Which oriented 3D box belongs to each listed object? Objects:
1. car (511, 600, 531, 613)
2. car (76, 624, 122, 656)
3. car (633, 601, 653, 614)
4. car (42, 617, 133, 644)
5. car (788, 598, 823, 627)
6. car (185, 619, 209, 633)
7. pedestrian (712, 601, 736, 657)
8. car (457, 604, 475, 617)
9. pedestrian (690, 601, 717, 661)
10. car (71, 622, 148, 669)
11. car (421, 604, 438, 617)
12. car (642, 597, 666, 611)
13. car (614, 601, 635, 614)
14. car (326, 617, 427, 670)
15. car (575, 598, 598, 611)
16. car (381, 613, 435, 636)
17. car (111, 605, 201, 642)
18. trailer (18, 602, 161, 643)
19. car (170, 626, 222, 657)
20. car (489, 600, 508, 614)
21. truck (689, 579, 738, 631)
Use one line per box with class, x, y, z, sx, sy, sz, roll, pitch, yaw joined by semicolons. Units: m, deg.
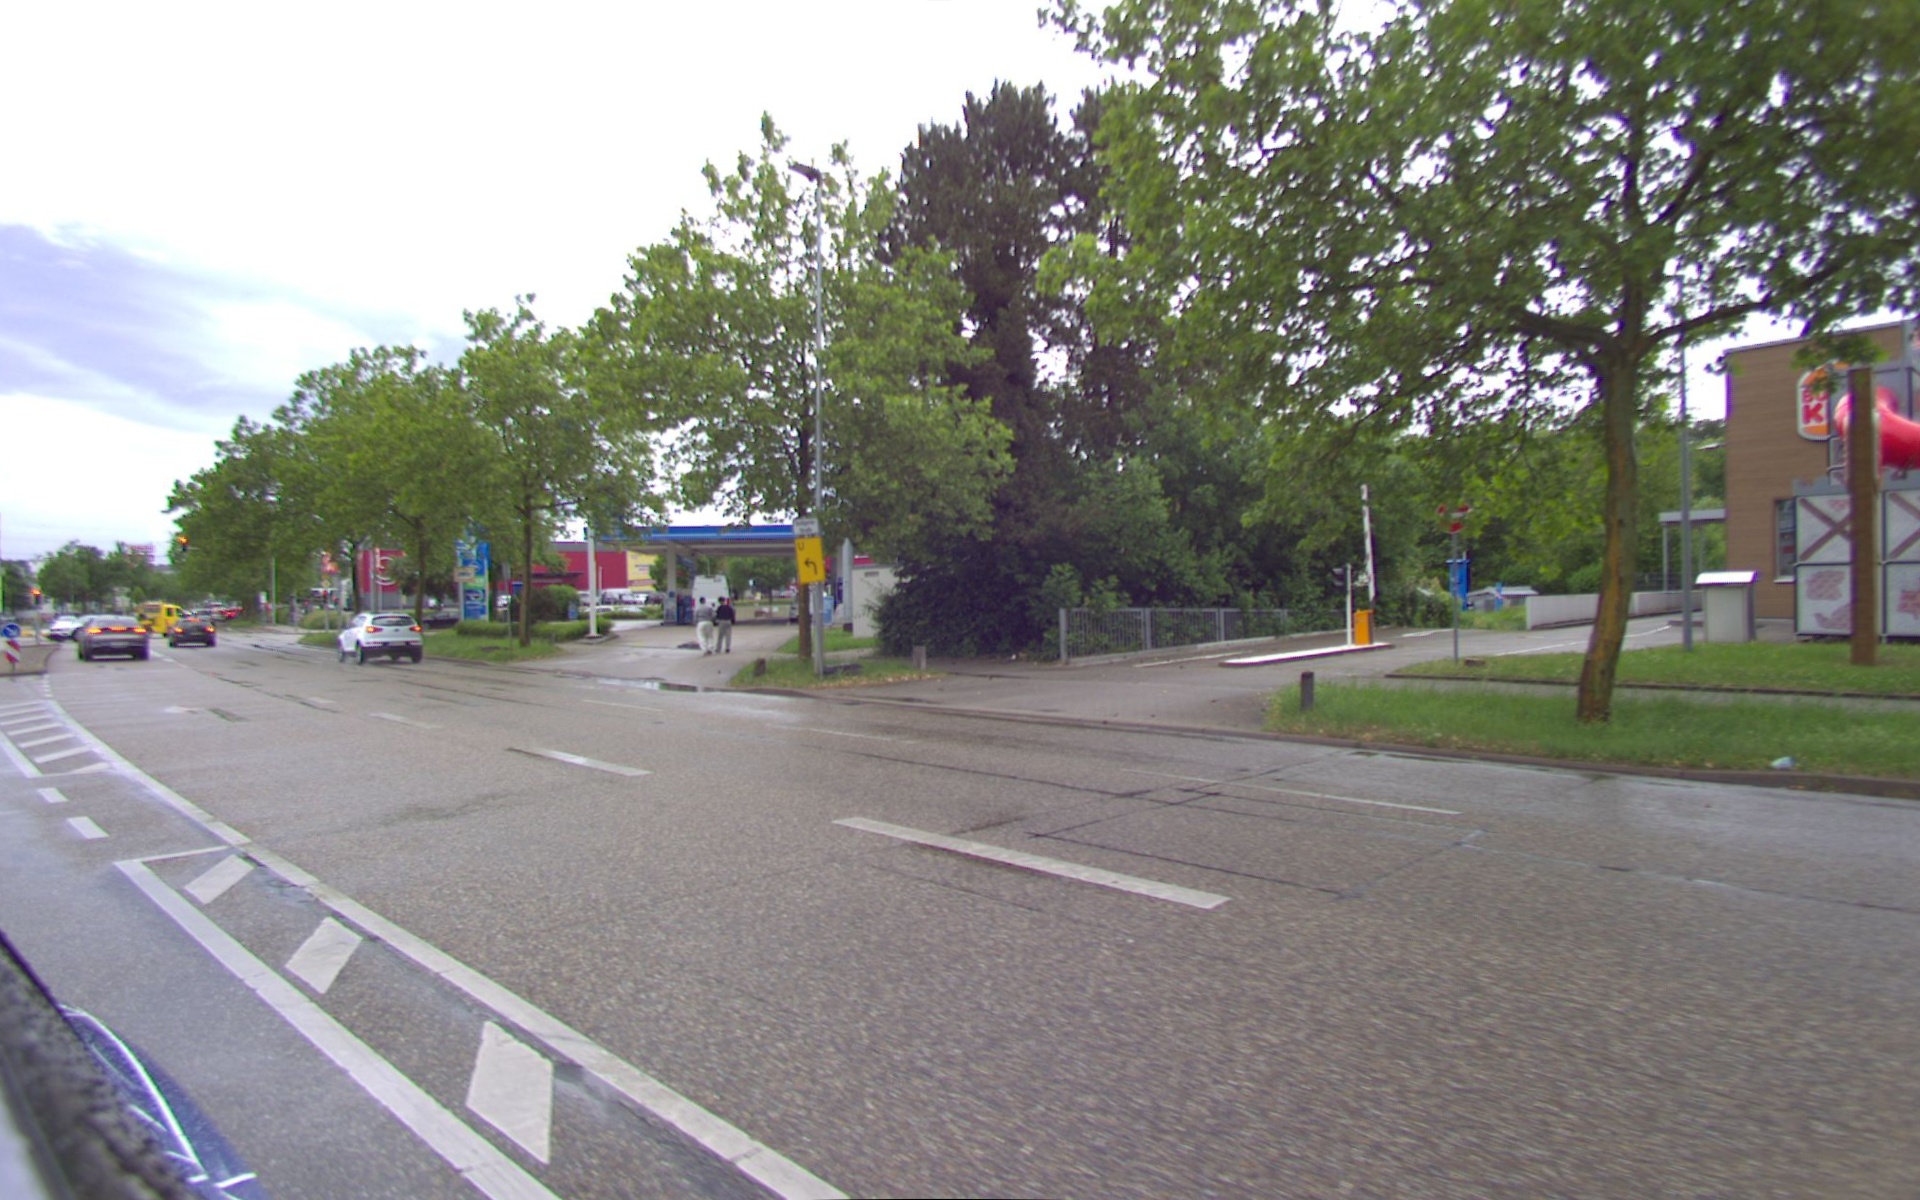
car;-56.763;0.808;130.887;1.645;1.658;3.973;0;-1;-34
car;-42.666;1.950;50.196;1.622;1.520;3.900;0;-1;-39
car;-43.322;1.031;138.313;1.645;1.658;3.973;0;-1;-34
car;-54.860;1.890;63.705;1.887;1.565;3.975;-1;-1;19
car;-8.913;0.683;58.600;1.664;1.594;3.566;-1;1;-4
car;-80.850;2.713;107.250;1.758;1.415;4.011;0;-1;-33
pedestrian;-7.293;0.895;31.329;0.540;1.695;0.506;-2;-2;44
car;-68.833;1.454;140.982;1.669;1.658;3.973;0;-1;-34
pedestrian;-7.810;0.943;30.761;0.655;1.780;0.585;-2;0;-25
car;-31.276;1.615;37.177;4.600;1.574;1.791;-1;-1;45
car;-70.400;1.404;134.280;1.669;1.658;3.973;0;-1;-34
car;-35.935;0.486;118.776;1.645;1.658;3.837;0;-1;-34
car;-45.406;1.029;136.875;1.645;1.658;3.973;0;-1;-34
car;-19.468;1.378;33.680;1.905;1.631;4.402;0;-1;-44
car;-42.751;0.495;115.851;1.645;1.391;3.919;0;-1;-34
car;-43.163;1.897;79.104;3.482;1.709;1.605;-1;0;-37
car;-58.035;1.652;73.191;2.218;2.492;5.008;-3;0;4
trailer;-58.224;1.421;68.001;2.281;2.492;7.961;-3;0;4
car;-39.941;2.151;52.854;1.968;1.520;4.739;1;-2;-39
car;-65.425;1.034;143.425;1.762;1.940;3.759;0;-1;-35
truck;-13.591;0.372;56.198;2.120;2.696;7.889;0;-2;-10
